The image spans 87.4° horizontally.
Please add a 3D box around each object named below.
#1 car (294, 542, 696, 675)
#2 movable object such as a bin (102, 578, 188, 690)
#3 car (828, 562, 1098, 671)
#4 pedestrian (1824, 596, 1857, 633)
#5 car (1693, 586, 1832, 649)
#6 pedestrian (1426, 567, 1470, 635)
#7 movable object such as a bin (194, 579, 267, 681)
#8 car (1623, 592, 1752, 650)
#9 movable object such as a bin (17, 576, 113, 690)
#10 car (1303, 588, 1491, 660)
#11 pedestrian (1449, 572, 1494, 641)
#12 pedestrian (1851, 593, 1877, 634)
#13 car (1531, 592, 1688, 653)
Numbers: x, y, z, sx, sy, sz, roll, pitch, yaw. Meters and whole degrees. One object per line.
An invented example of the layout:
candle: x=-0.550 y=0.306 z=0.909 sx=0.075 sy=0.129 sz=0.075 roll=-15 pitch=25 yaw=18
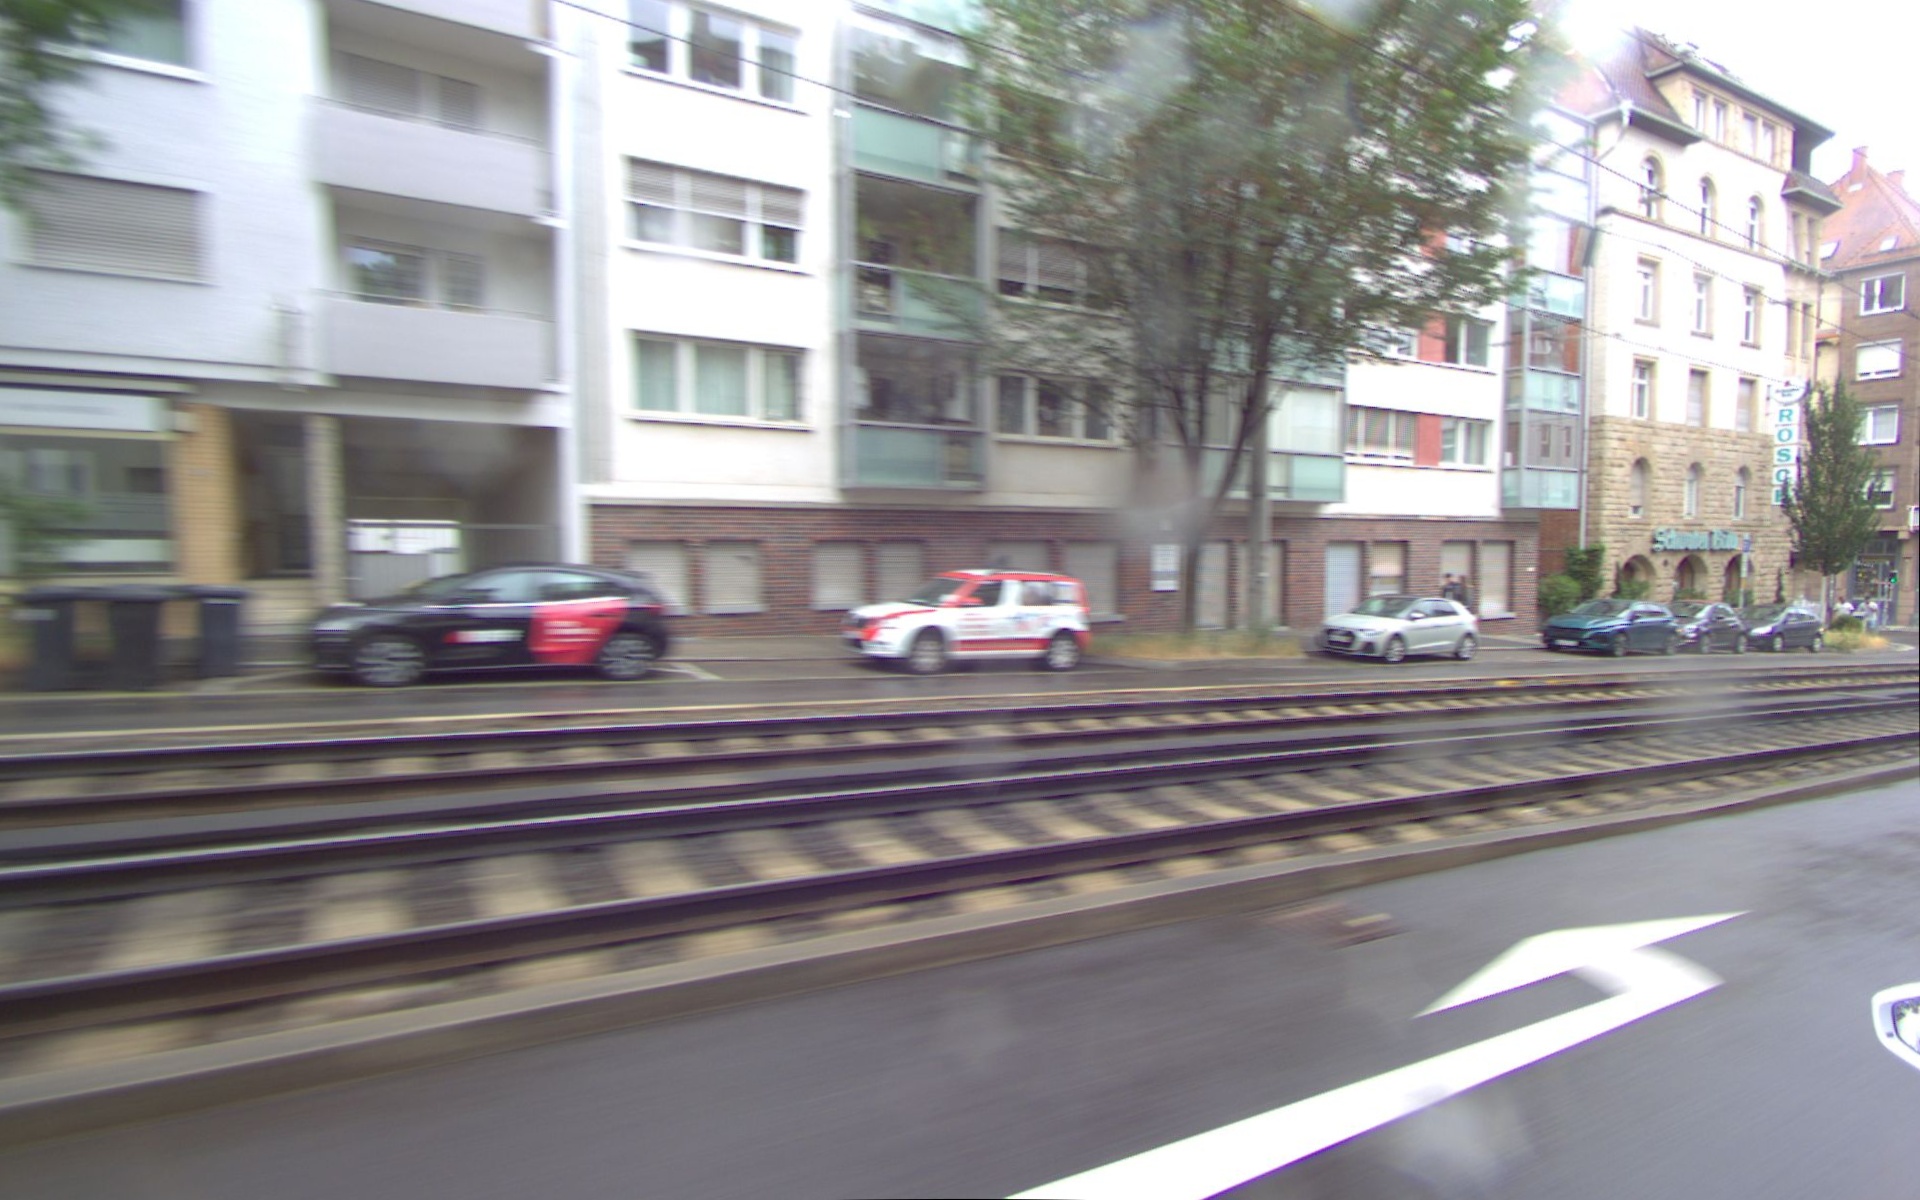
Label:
car: x=-5.868 y=0.093 z=12.942 sx=4.419 sy=1.459 sz=1.896 roll=1 pitch=2 yaw=-32
movable object such as a bin: x=-8.747 y=0.346 z=10.809 sx=0.665 sy=1.136 sz=0.720 roll=1 pitch=2 yaw=-36
car: x=0.087 y=0.246 z=16.496 sx=4.112 sy=1.590 sz=1.767 roll=1 pitch=1 yaw=-32
pedestrian: x=35.609 y=0.576 z=40.627 sx=0.637 sy=1.441 sz=0.751 roll=1 pitch=2 yaw=-27
car: x=25.425 y=0.550 z=31.836 sx=3.689 sy=1.751 sz=1.880 roll=1 pitch=4 yaw=-25
pedestrian: x=13.290 y=0.029 z=27.367 sx=0.773 sy=1.796 sz=0.670 roll=1 pitch=2 yaw=-30
movable object such as a bin: x=-8.566 y=0.337 z=11.816 sx=0.665 sy=1.136 sz=0.720 roll=1 pitch=2 yaw=-36
car: x=21.120 y=0.603 z=29.162 sx=3.486 sy=1.518 sz=1.797 roll=1 pitch=2 yaw=-32
movable object such as a bin: x=-9.374 y=0.325 z=10.547 sx=0.665 sy=1.136 sz=0.720 roll=1 pitch=2 yaw=-36
car: x=9.711 y=0.517 z=22.267 sx=4.082 sy=1.354 sz=1.693 roll=1 pitch=4 yaw=-30
pedestrian: x=13.621 y=0.167 z=26.747 sx=0.773 sy=1.796 sz=0.670 roll=1 pitch=2 yaw=-30
pedestrian: x=35.957 y=0.535 z=39.941 sx=0.635 sy=1.591 sz=0.515 roll=1 pitch=1 yaw=-26
car: x=17.323 y=0.578 z=26.746 sx=4.381 sy=1.474 sz=1.791 roll=1 pitch=1 yaw=-32
